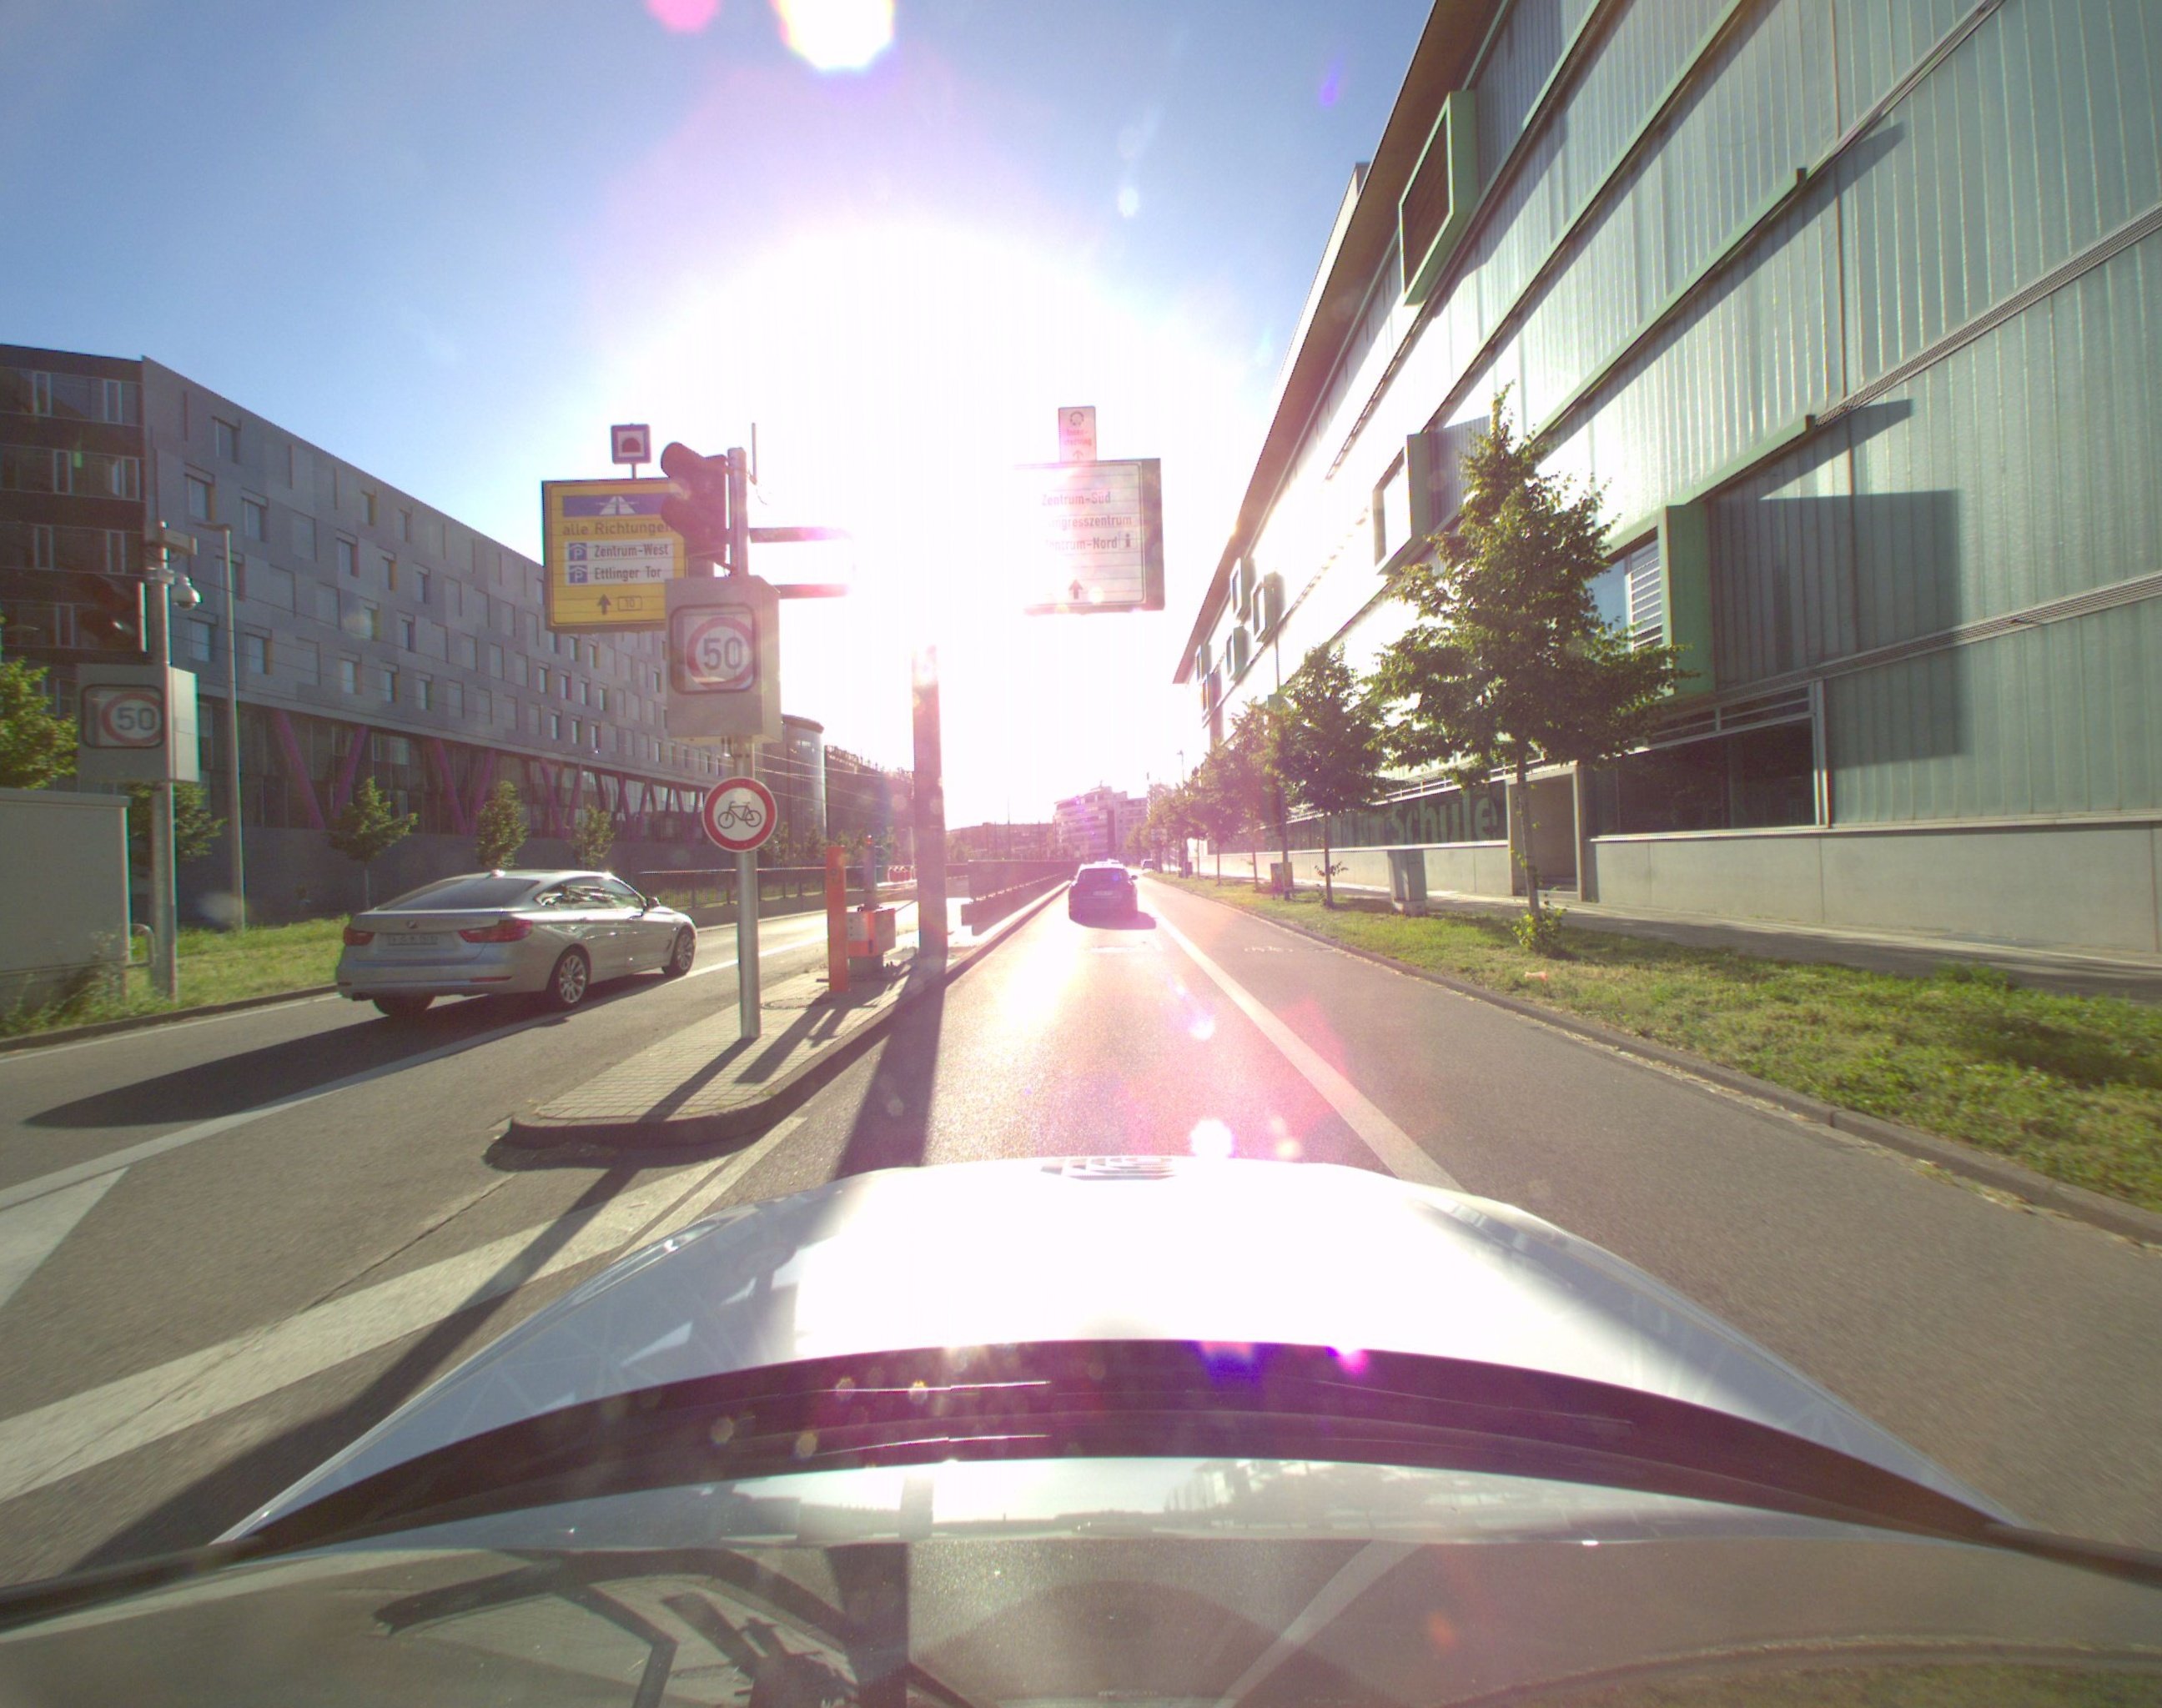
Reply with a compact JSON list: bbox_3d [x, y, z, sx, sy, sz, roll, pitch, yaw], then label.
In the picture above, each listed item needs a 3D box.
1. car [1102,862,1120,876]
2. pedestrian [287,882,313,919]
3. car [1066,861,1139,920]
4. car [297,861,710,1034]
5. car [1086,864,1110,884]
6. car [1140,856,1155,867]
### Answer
[{"bbox_3d":[3.636,1.809,98.996,1.987,1.465,3.999,-1,1,0],"label":"car"},{"bbox_3d":[-43.804,2.600,45.693,0.733,2.014,0.690,-2,-1,2],"label":"pedestrian"},{"bbox_3d":[0.605,0.957,23.075,1.806,1.427,4.690,-2,-1,1],"label":"car"},{"bbox_3d":[-6.375,0.868,9.896,1.795,1.527,4.903,0,0,-4],"label":"car"},{"bbox_3d":[1.363,1.600,66.128,1.846,1.546,4.001,-1,0,1],"label":"car"},{"bbox_3d":[9.728,1.093,118.961,1.846,1.481,4.854,-4,0,1],"label":"car"}]
